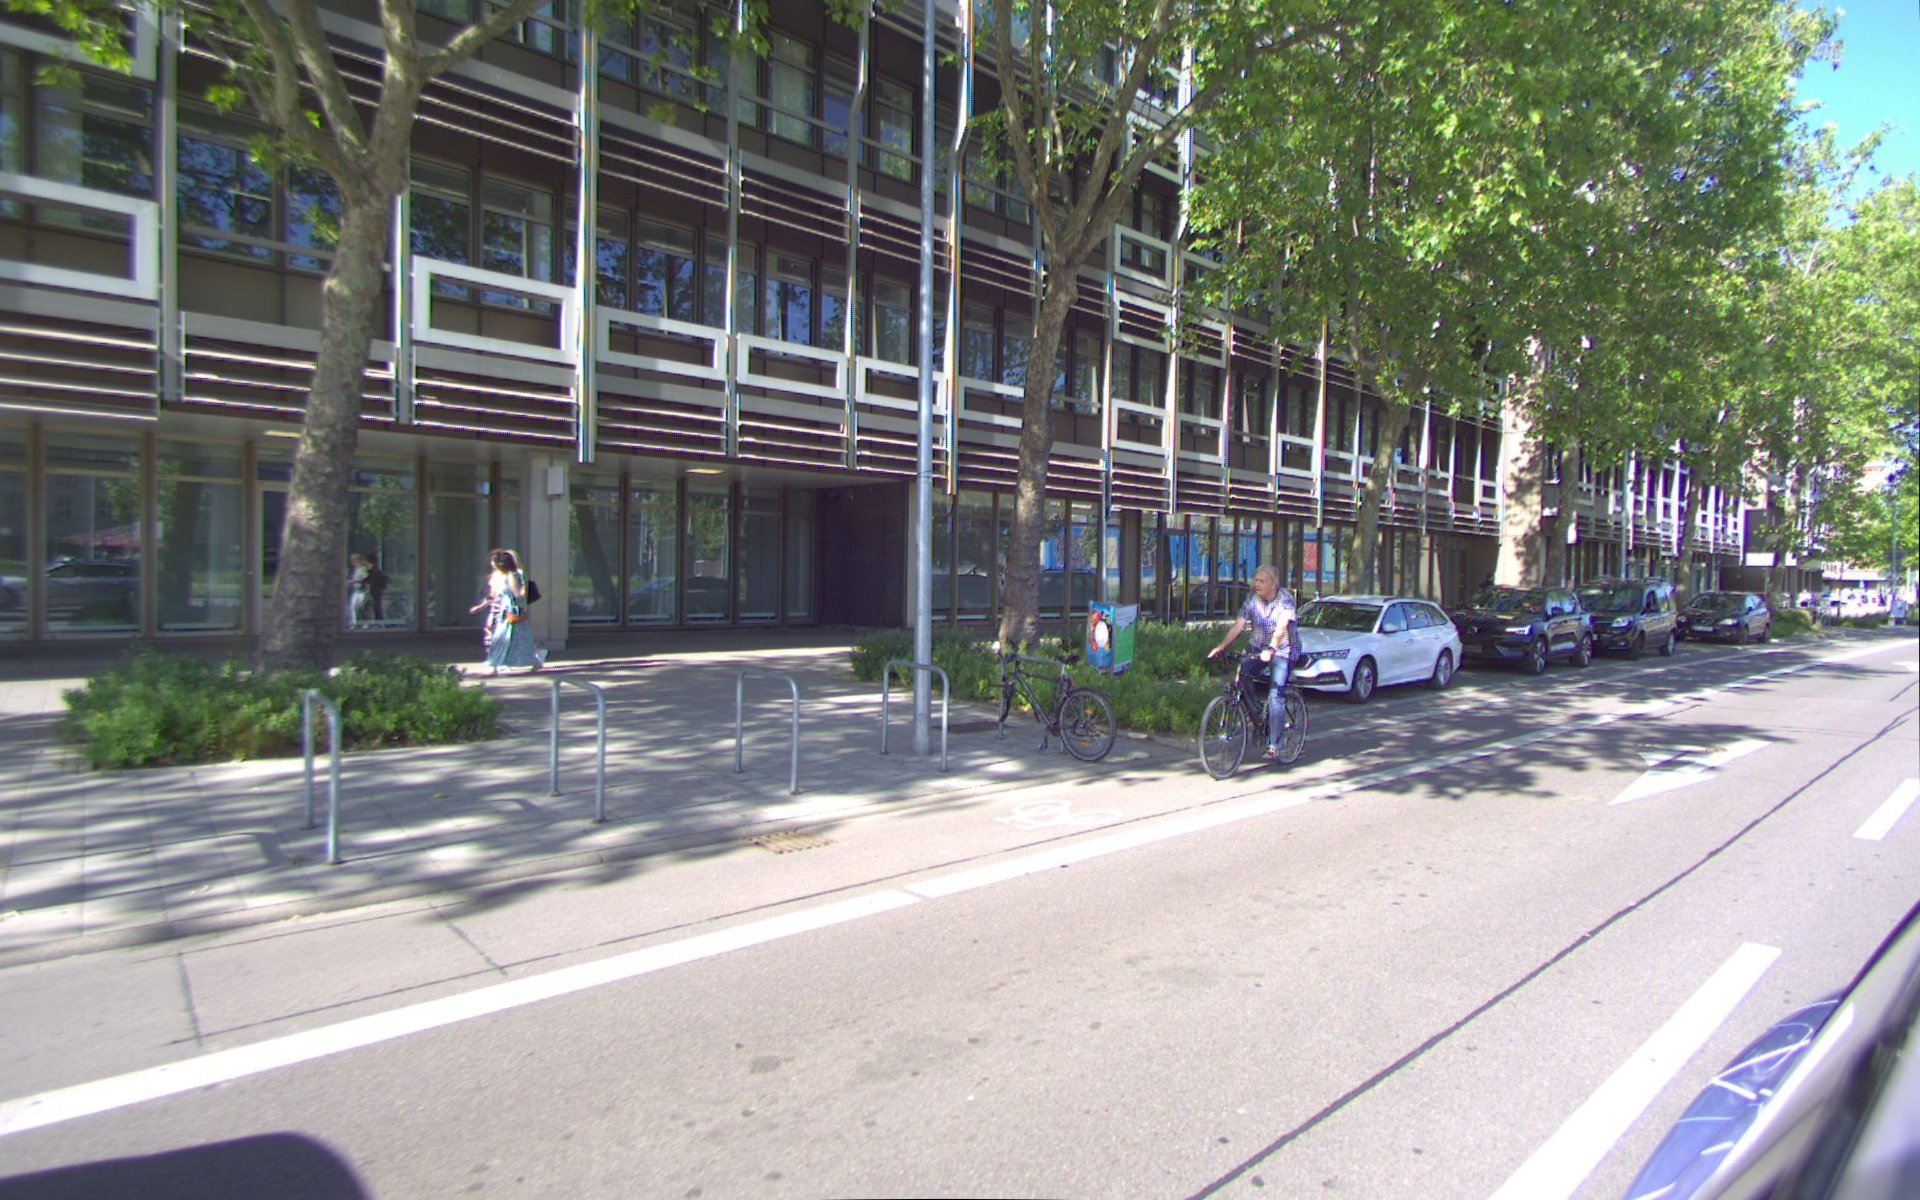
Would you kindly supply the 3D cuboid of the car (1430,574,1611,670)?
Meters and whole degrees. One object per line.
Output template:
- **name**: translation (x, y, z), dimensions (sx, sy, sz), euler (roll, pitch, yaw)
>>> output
- **car**: translation (11.104, 0.365, 19.926), dimensions (4.262, 1.653, 1.751), euler (0, 3, -42)

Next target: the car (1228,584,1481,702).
- **car**: translation (6.178, 0.556, 15.584), dimensions (4.481, 1.508, 1.751), euler (0, 3, -42)

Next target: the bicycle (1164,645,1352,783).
- **bicycle**: translation (2.640, 0.937, 8.849), dimensions (1.891, 1.006, 0.710), euler (0, -1, -43)

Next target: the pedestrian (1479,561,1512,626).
- **pedestrian**: translation (17.106, -0.207, 32.310), dimensions (0.615, 2.039, 0.740), euler (0, 0, -41)

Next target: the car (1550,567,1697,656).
- **car**: translation (15.481, 0.220, 23.528), dimensions (4.262, 1.843, 1.751), euler (0, 3, -42)

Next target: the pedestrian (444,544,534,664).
- **pedestrian**: translation (-6.663, 0.045, 14.329), dimensions (0.991, 1.620, 0.667), euler (0, 3, -41)

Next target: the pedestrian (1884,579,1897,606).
- **pedestrian**: translation (66.692, -0.541, 72.519), dimensions (0.559, 1.863, 0.590), euler (0, 0, -42)

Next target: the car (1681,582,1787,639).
- **car**: translation (23.791, 0.283, 31.055), dimensions (4.262, 1.573, 1.751), euler (0, 3, -42)

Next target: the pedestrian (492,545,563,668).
- **pedestrian**: translation (-5.963, 0.067, 13.942), dimensions (0.715, 1.620, 0.667), euler (0, 3, -41)

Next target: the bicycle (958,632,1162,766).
- **bicycle**: translation (0.894, 0.866, 9.448), dimensions (0.700, 0.972, 1.845), euler (0, 3, -45)

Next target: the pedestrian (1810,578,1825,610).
- **pedestrian**: translation (50.762, -0.356, 59.897), dimensions (0.685, 1.863, 0.590), euler (0, 0, -42)

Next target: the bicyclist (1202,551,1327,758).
- **bicyclist**: translation (2.681, 0.455, 8.904), dimensions (0.838, 1.709, 0.710), euler (0, -1, -43)

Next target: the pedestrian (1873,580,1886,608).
- **pedestrian**: translation (61.049, -0.408, 67.188), dimensions (0.559, 1.863, 0.590), euler (0, 0, -42)

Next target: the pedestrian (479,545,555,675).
- **pedestrian**: translation (-5.767, 0.114, 13.172), dimensions (0.715, 1.620, 0.667), euler (0, 3, -41)

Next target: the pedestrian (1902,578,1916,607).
- **pedestrian**: translation (61.611, -0.478, 65.678), dimensions (0.559, 1.863, 0.590), euler (0, 0, -42)

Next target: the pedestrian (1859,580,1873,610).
- **pedestrian**: translation (57.337, -0.302, 64.033), dimensions (0.684, 1.863, 0.590), euler (0, 0, -42)
